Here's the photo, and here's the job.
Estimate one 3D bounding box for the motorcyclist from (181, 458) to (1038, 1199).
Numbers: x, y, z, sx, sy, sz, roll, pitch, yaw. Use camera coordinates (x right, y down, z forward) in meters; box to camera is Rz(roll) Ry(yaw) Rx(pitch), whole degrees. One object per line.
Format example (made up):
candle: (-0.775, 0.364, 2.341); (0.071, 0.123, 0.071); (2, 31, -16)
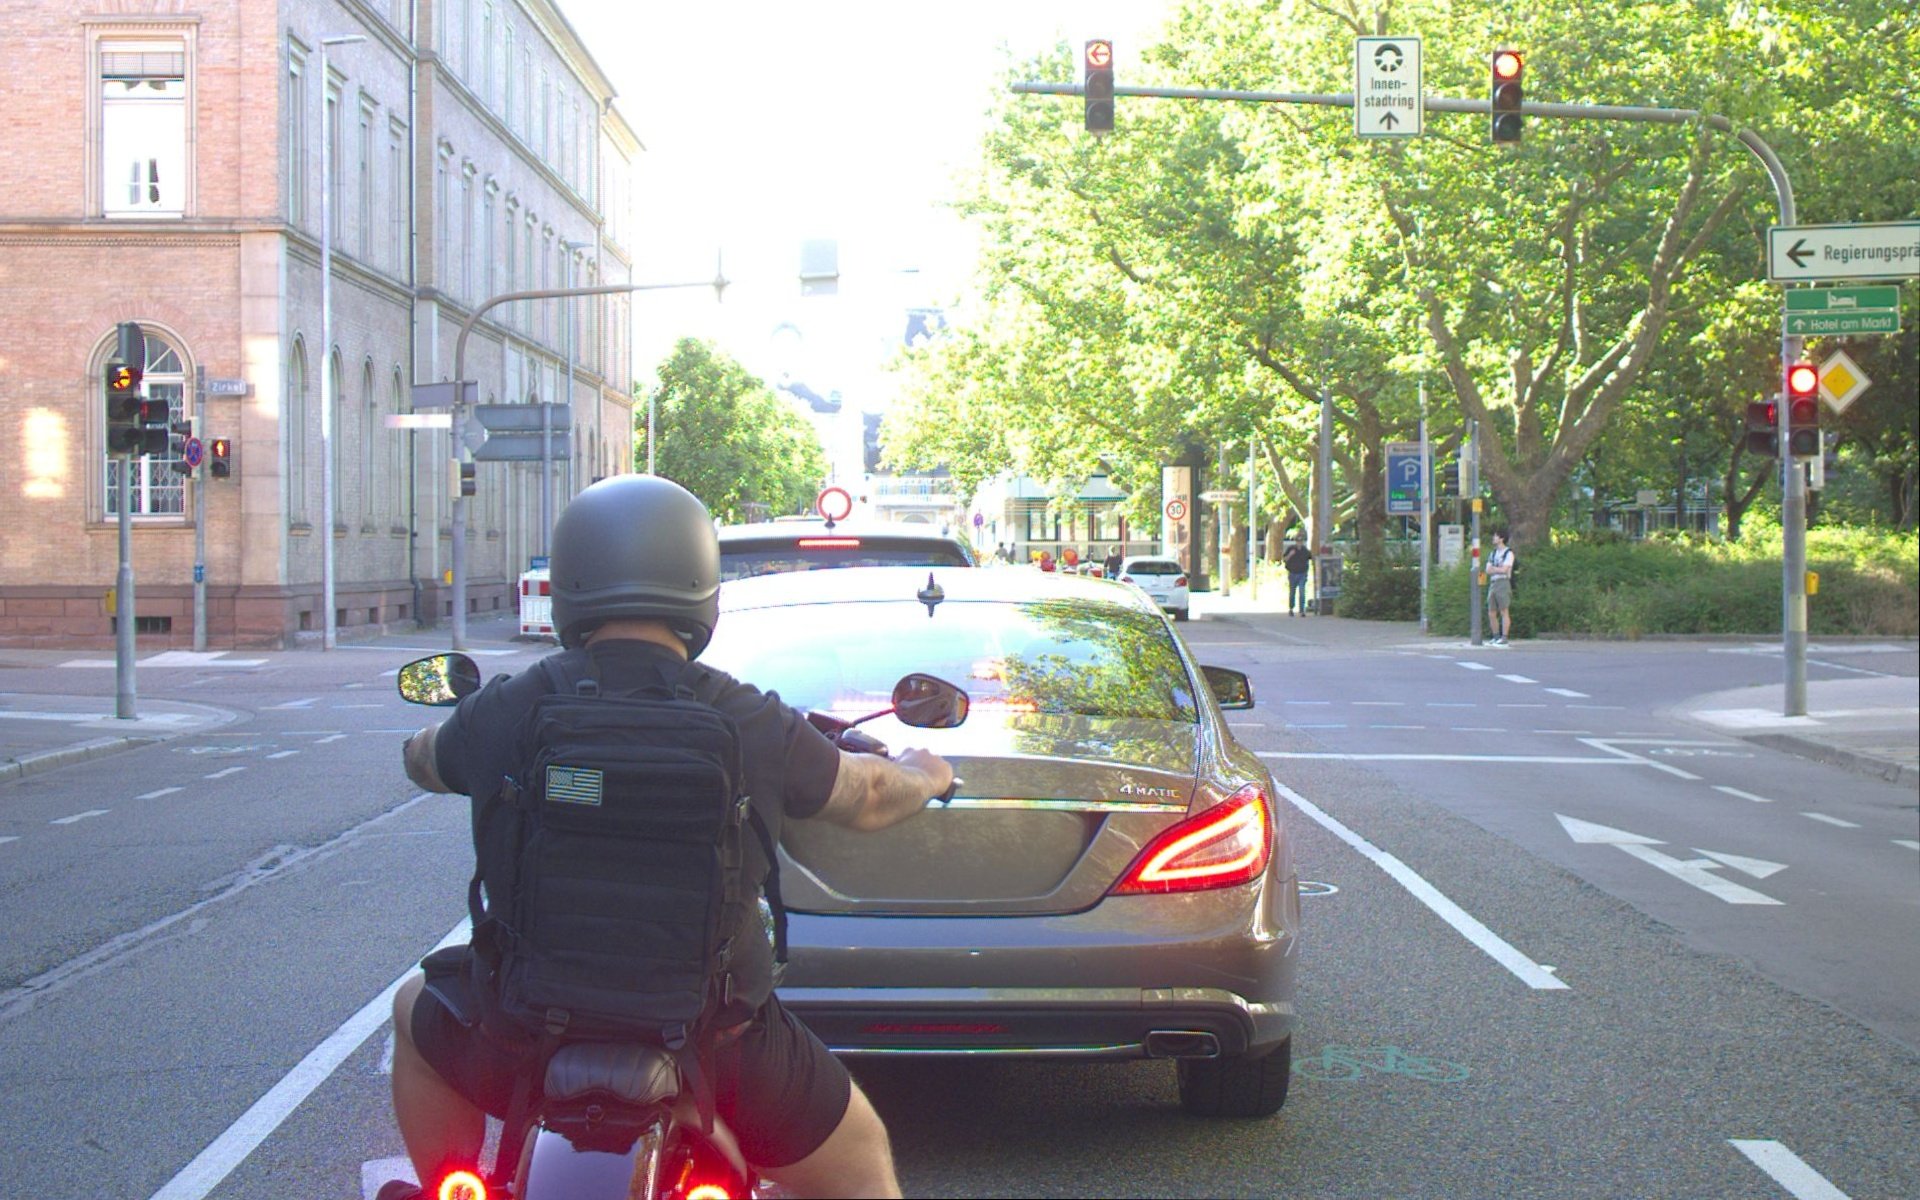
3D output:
motorcyclist: (-0.486, 0.606, 5.307); (1.149, 1.593, 1.288); (1, 0, -1)

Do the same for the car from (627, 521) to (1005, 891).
car: (-0.641, 0.419, 16.756); (1.621, 1.588, 4.000); (0, 1, -1)

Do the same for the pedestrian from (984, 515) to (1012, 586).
pedestrian: (1.121, -1.454, 100.866); (0.764, 2.044, 0.712); (1, 0, -1)

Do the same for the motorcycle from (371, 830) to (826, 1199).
motorcycle: (-0.499, 0.936, 5.337); (0.513, 0.999, 2.013); (1, 1, -1)

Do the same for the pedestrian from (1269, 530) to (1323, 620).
pedestrian: (7.169, -0.525, 73.360); (0.749, 1.903, 0.926); (1, 0, -28)

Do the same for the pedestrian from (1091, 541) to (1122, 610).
pedestrian: (4.319, -0.722, 101.590); (0.814, 2.007, 1.271); (1, 0, -1)

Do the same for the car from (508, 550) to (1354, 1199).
car: (-0.087, 0.604, 9.641); (1.882, 1.444, 3.820); (1, 1, -1)

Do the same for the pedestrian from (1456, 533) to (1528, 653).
pedestrian: (8.204, -0.111, 53.055); (1.002, 1.820, 1.076); (1, 0, 6)

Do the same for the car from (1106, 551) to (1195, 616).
car: (4.335, -0.395, 78.708); (1.776, 1.423, 3.802); (0, 1, -1)
